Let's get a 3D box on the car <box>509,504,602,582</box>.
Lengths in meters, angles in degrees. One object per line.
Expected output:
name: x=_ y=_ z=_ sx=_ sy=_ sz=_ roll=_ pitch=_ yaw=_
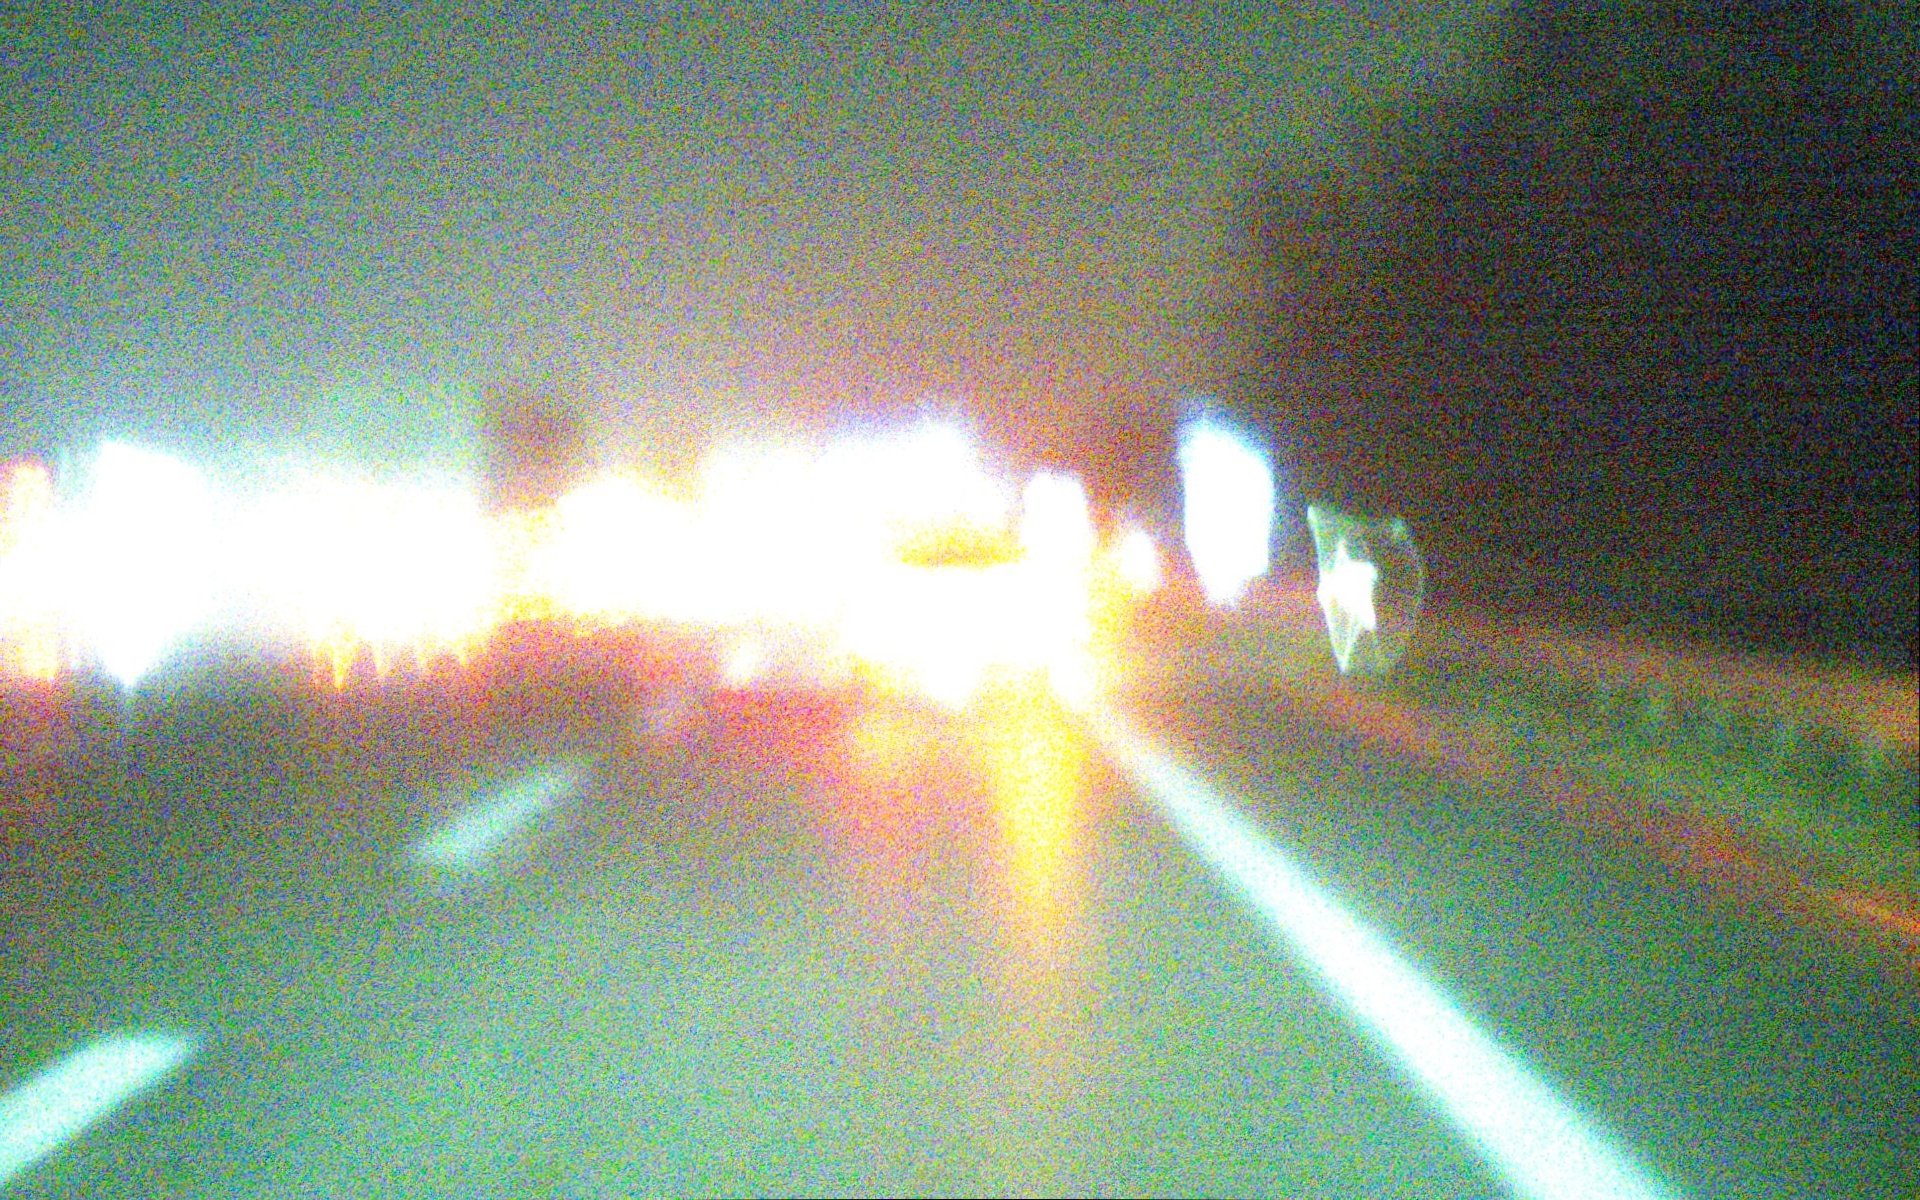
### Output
car: x=-9.693 y=-1.363 z=82.602 sx=1.993 sy=1.801 sz=4.001 roll=1 pitch=0 yaw=-4

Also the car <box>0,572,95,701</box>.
car: x=-12.940 y=0.461 z=46.658 sx=1.694 sy=1.645 sz=3.841 roll=1 pitch=0 yaw=-5

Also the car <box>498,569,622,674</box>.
car: x=-7.179 y=0.359 z=62.054 sx=1.993 sy=1.801 sz=4.001 roll=1 pitch=0 yaw=-4

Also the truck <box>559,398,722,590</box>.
truck: x=-9.868 y=-3.190 z=107.551 sx=4.210 sy=5.629 sz=11.468 roll=1 pitch=0 yaw=-1

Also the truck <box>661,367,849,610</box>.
truck: x=-4.992 y=-2.667 z=86.314 sx=4.210 sy=5.629 sz=11.468 roll=1 pitch=0 yaw=-1

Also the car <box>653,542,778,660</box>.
car: x=-4.362 y=-0.004 z=61.924 sx=2.125 sy=2.007 sz=4.646 roll=1 pitch=0 yaw=-3

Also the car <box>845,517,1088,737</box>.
car: x=0.025 y=0.209 z=30.676 sx=1.993 sy=1.801 sz=4.000 roll=1 pitch=0 yaw=-1

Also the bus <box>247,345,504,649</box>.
bus: x=-9.487 y=-1.596 z=57.039 sx=3.096 sy=4.492 sz=10.915 roll=1 pitch=0 yaw=-4
